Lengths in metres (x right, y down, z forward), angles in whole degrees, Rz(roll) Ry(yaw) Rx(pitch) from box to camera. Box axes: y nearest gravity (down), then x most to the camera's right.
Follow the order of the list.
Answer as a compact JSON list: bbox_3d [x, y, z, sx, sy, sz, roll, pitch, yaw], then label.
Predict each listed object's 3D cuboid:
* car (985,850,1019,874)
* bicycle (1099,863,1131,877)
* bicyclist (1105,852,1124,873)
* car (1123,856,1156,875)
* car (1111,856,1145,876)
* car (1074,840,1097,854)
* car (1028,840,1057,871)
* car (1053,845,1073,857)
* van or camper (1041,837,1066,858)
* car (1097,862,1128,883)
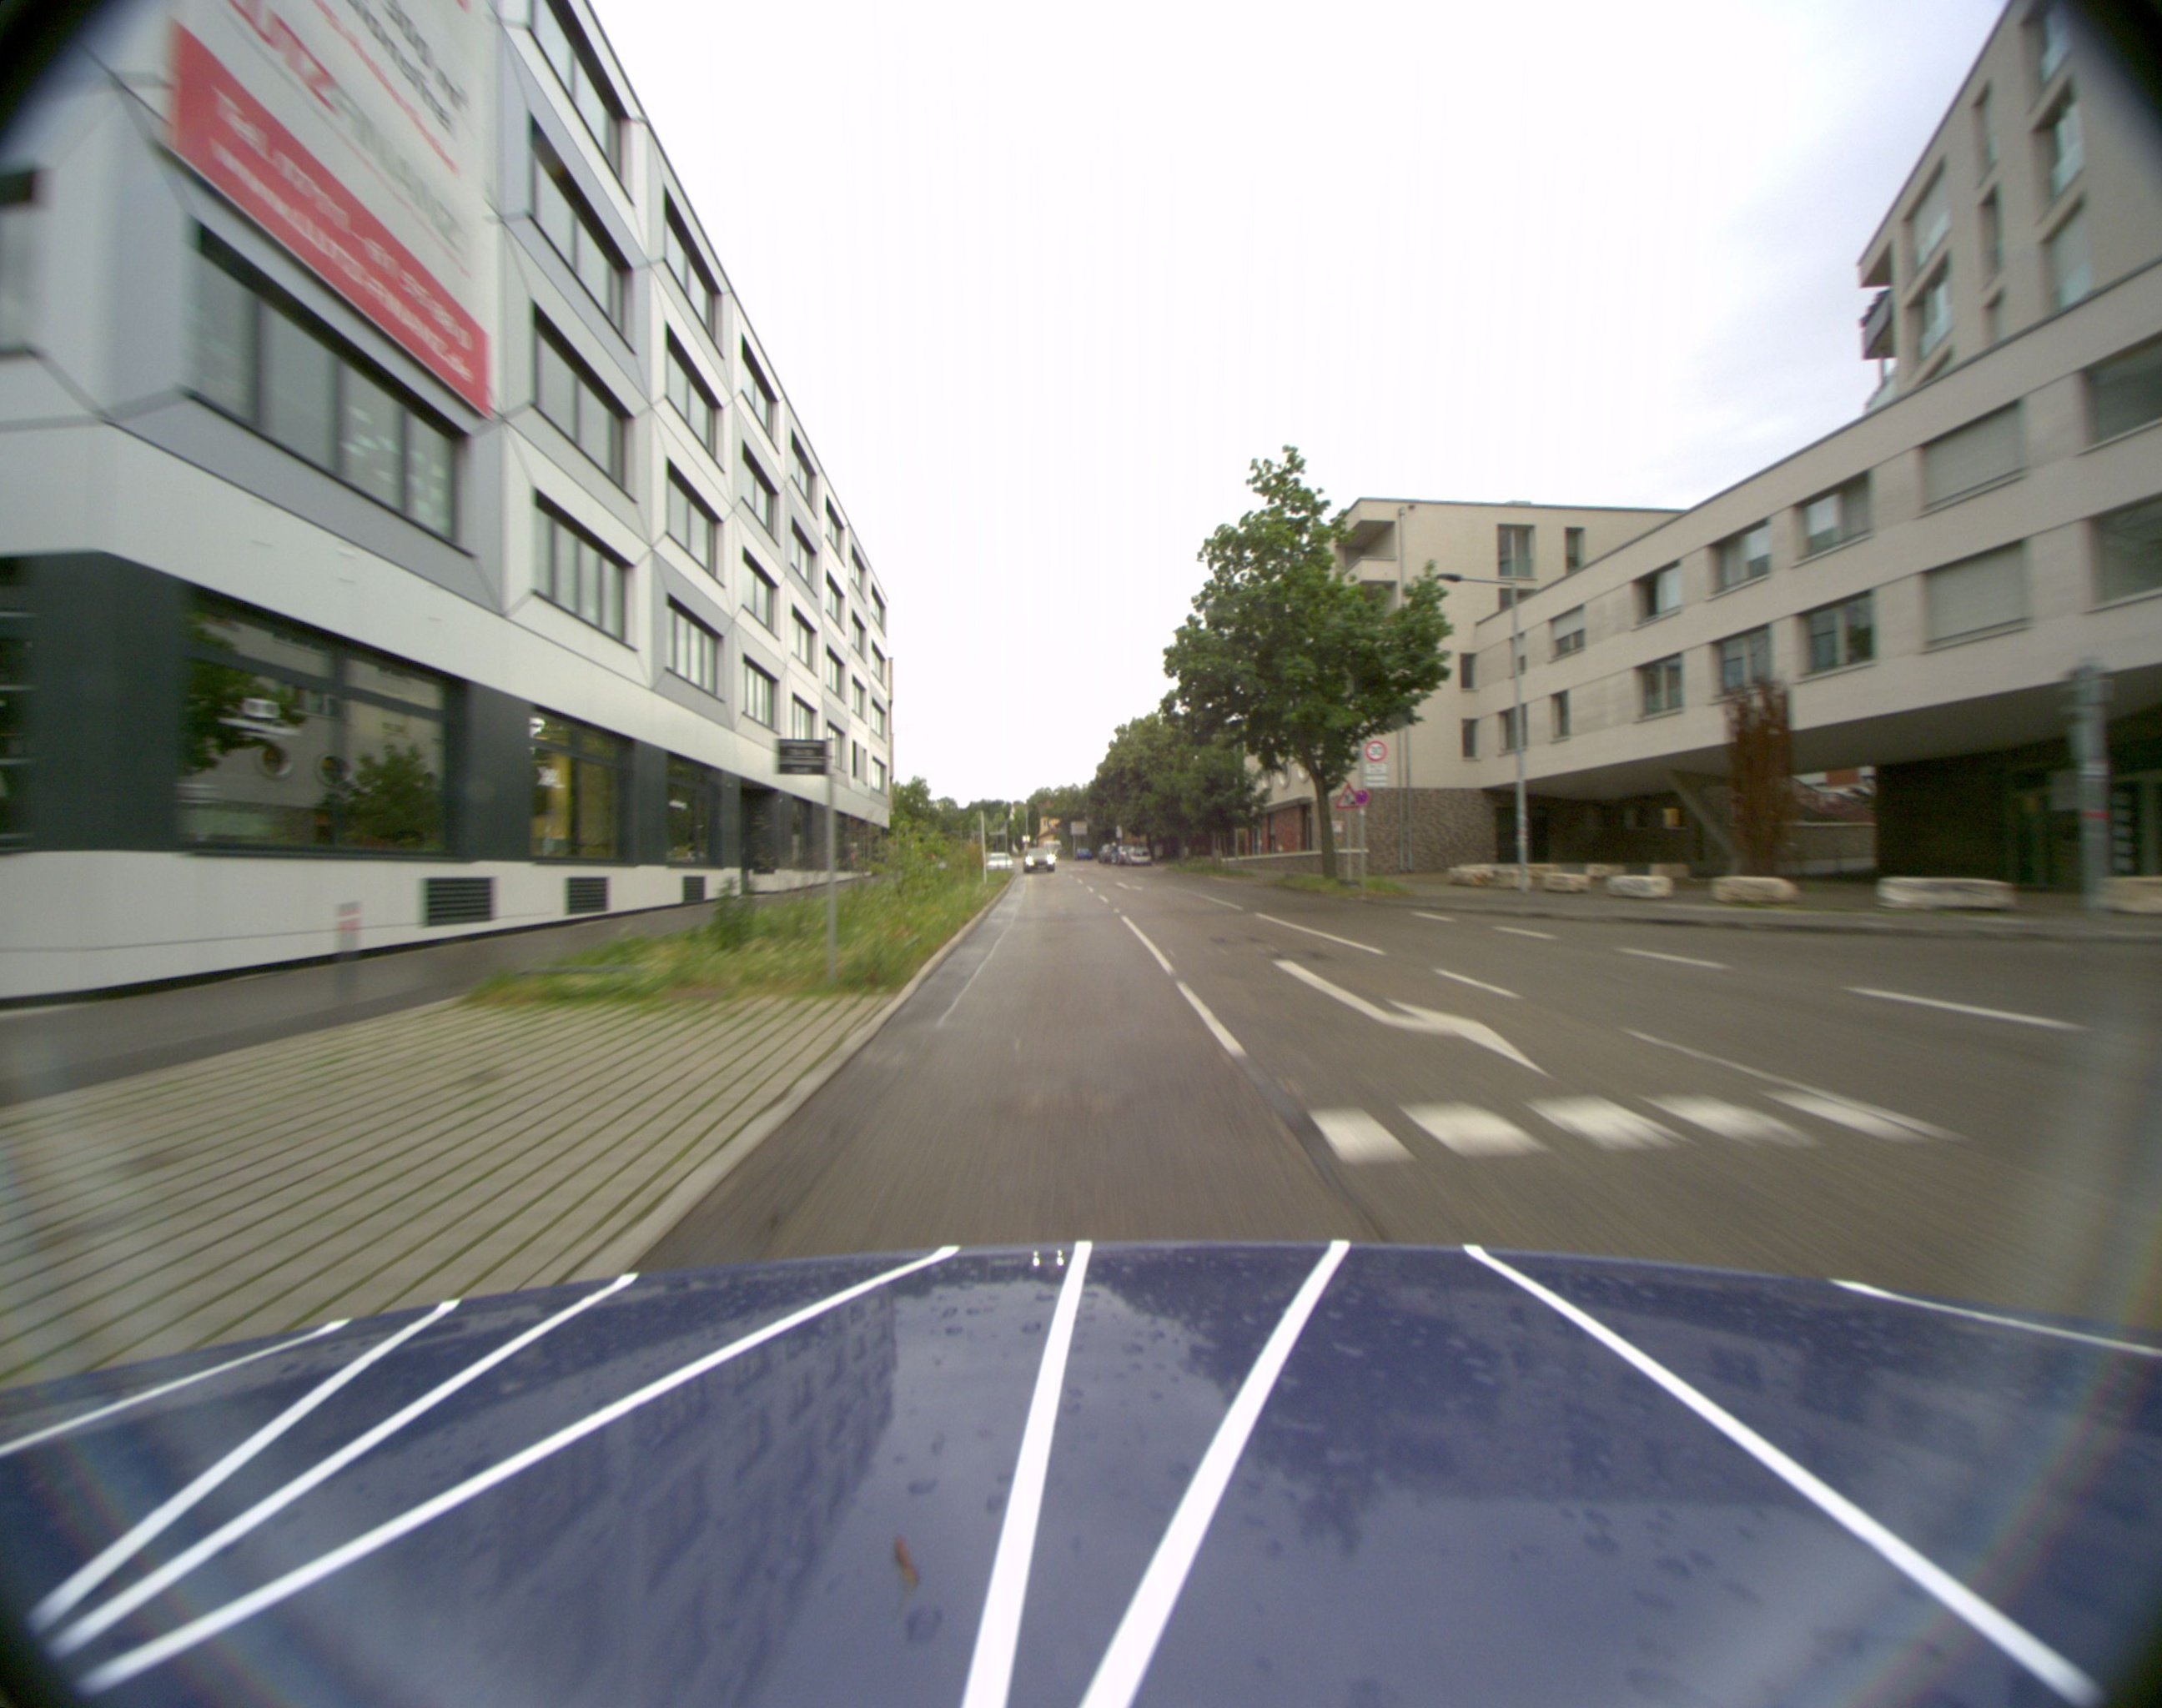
[{"bbox_3d":[-5.298,0.526,50.439,2.046,1.455,4.500,-2,0,-7],"label":"car"},{"bbox_3d":[2.607,1.243,58.052,2.250,0.973,0.805,-2,0,15],"label":"bicycle"},{"bbox_3d":[2.568,0.637,58.053,1.199,1.514,0.804,-2,0,16],"label":"bicyclist"},{"bbox_3d":[4.606,0.902,60.640,1.885,1.454,3.845,-2,0,-7],"label":"car"},{"bbox_3d":[3.984,1.000,65.145,1.996,1.584,4.487,-2,0,-8],"label":"car"},{"bbox_3d":[0.488,-0.792,87.688,2.000,1.461,4.183,-2,0,-8],"label":"car"},{"bbox_3d":[-2.735,0.109,53.395,1.848,1.961,4.342,-2,0,-3],"label":"car"},{"bbox_3d":[-2.465,-0.346,103.114,2.000,1.504,4.418,-2,0,-12],"label":"car"},{"bbox_3d":[-3.964,-0.837,109.085,2.349,2.748,6.135,-2,-1,-14],"label":"van or camper"},{"bbox_3d":[2.865,1.679,70.737,2.000,1.776,5.407,-2,0,-7],"label":"car"}]
